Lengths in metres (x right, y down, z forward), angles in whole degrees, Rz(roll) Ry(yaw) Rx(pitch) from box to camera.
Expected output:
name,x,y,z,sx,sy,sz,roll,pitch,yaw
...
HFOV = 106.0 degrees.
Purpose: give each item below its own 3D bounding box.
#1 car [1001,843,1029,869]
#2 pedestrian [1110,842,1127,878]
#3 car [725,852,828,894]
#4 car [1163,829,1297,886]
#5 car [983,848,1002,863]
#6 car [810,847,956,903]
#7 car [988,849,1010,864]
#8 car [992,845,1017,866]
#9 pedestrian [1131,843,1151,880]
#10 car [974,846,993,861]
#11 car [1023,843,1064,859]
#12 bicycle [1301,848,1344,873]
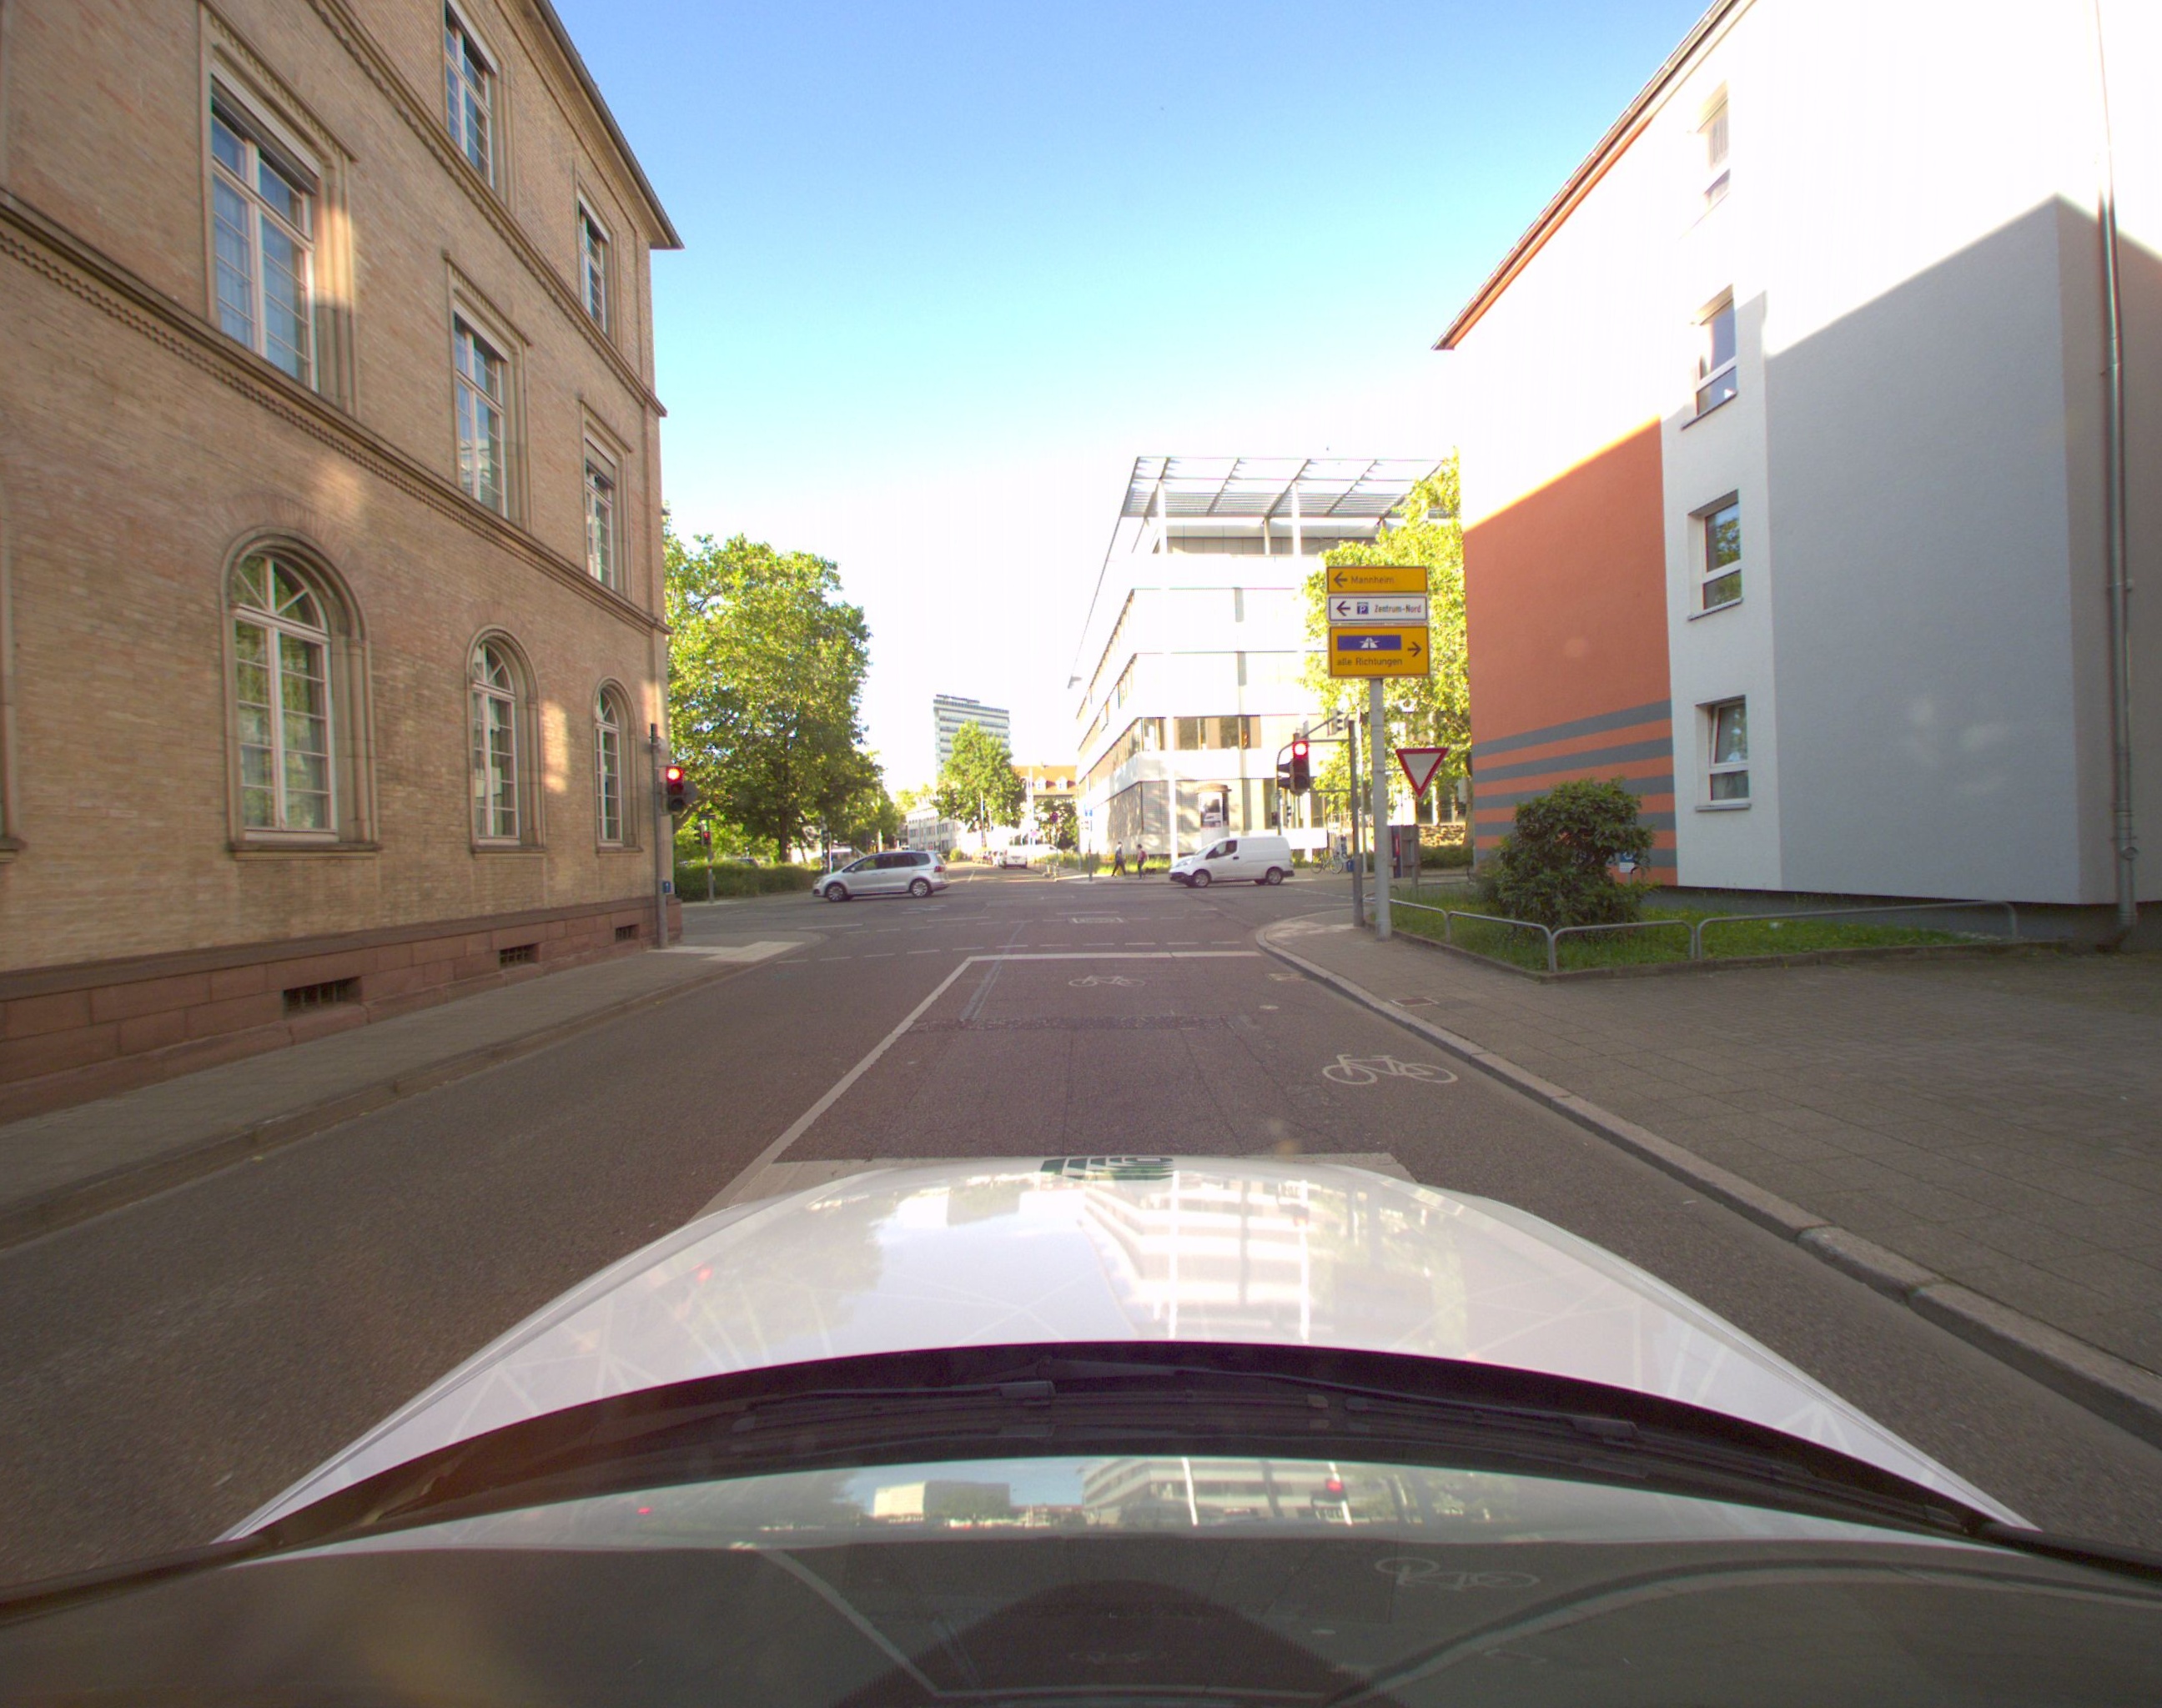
name,x,y,z,sx,sy,sz,roll,pitch,yaw
car,-5.313,0.126,65.354,2.065,1.963,4.228,-2,0,-7
pedestrian,1.836,0.279,39.843,0.647,1.736,0.815,-2,0,15
car,-14.505,0.885,39.032,4.220,1.777,1.901,-2,0,-7
car,5.456,0.124,30.112,4.533,1.799,1.634,-3,0,-6
car,-9.449,0.170,86.649,1.704,1.464,4.225,-2,0,-9
car,-6.991,0.718,29.198,4.750,1.707,1.797,-3,0,-4
car,-8.284,0.253,81.851,1.705,1.424,4.221,-2,0,-12
car,-7.320,0.140,77.321,1.947,1.795,4.222,-2,0,-11
pedestrian,2.677,0.327,36.443,0.706,1.599,0.620,-2,0,20
car,-11.594,-0.078,96.522,2.100,1.657,4.461,-2,0,-9
car,-4.834,-0.372,103.581,4.890,1.872,1.990,-1,-1,-15
bicycle,10.808,0.295,36.466,0.467,1.049,1.893,-2,0,-40
